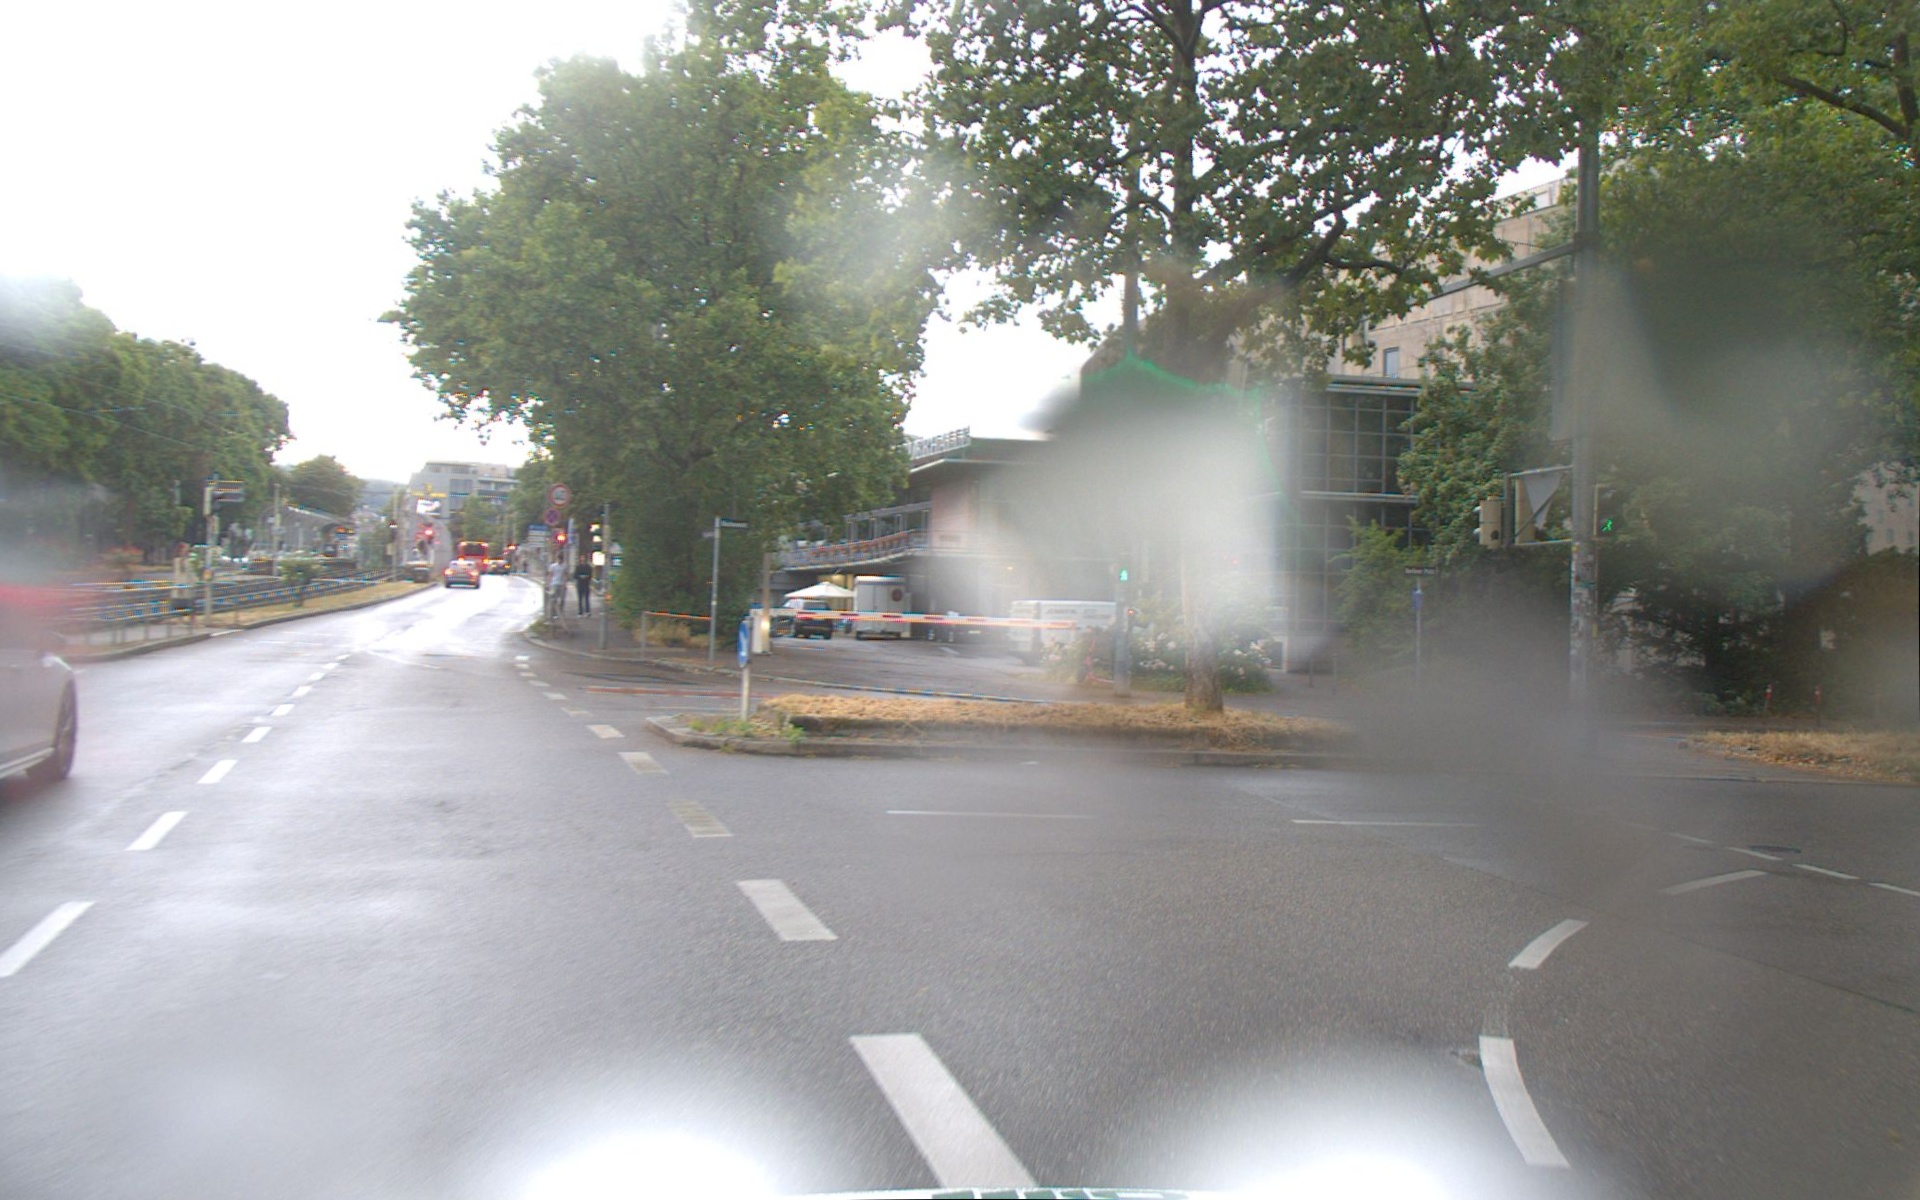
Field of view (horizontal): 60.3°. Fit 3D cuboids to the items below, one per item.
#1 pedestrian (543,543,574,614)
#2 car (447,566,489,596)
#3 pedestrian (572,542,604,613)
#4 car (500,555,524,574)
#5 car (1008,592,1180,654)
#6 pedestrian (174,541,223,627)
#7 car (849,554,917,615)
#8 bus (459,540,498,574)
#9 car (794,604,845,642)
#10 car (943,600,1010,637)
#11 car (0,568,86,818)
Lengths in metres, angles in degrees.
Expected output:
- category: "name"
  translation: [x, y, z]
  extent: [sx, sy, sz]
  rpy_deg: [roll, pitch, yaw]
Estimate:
- category: "pedestrian"
  translation: [-11.655, -0.632, 48.036]
  extent: [0.800, 2.049, 1.074]
  rpy_deg: [0, 1, -11]
- category: "car"
  translation: [-26.550, -1.025, 89.374]
  extent: [1.960, 1.545, 4.334]
  rpy_deg: [-1, 1, -14]
- category: "pedestrian"
  translation: [-10.869, -0.649, 48.311]
  extent: [0.858, 2.049, 1.074]
  rpy_deg: [0, 1, -11]
- category: "car"
  translation: [-45.385, -3.560, 167.425]
  extent: [2.325, 1.848, 5.161]
  rpy_deg: [-1, 1, -16]
- category: "car"
  translation: [4.167, 0.720, 51.162]
  extent: [5.140, 1.761, 1.857]
  rpy_deg: [1, 1, -28]
- category: "pedestrian"
  translation: [-16.557, -0.350, 35.979]
  extent: [0.857, 1.833, 0.863]
  rpy_deg: [2, 1, -21]
- category: "car"
  translation: [-3.781, -0.777, 79.943]
  extent: [2.680, 2.742, 6.912]
  rpy_deg: [2, 1, -7]
- category: "bus"
  translation: [-47.206, -4.150, 162.321]
  extent: [3.532, 3.226, 10.376]
  rpy_deg: [-1, 1, -16]
- category: "car"
  translation: [-6.445, 1.045, 76.283]
  extent: [1.978, 1.578, 4.349]
  rpy_deg: [2, 1, -1]
- category: "car"
  translation: [0.748, 0.856, 77.952]
  extent: [1.986, 1.578, 4.332]
  rpy_deg: [2, 1, -15]
- category: "car"
  translation: [-6.671, 0.555, 9.998]
  extent: [1.769, 1.467, 4.450]
  rpy_deg: [-1, 0, -19]
